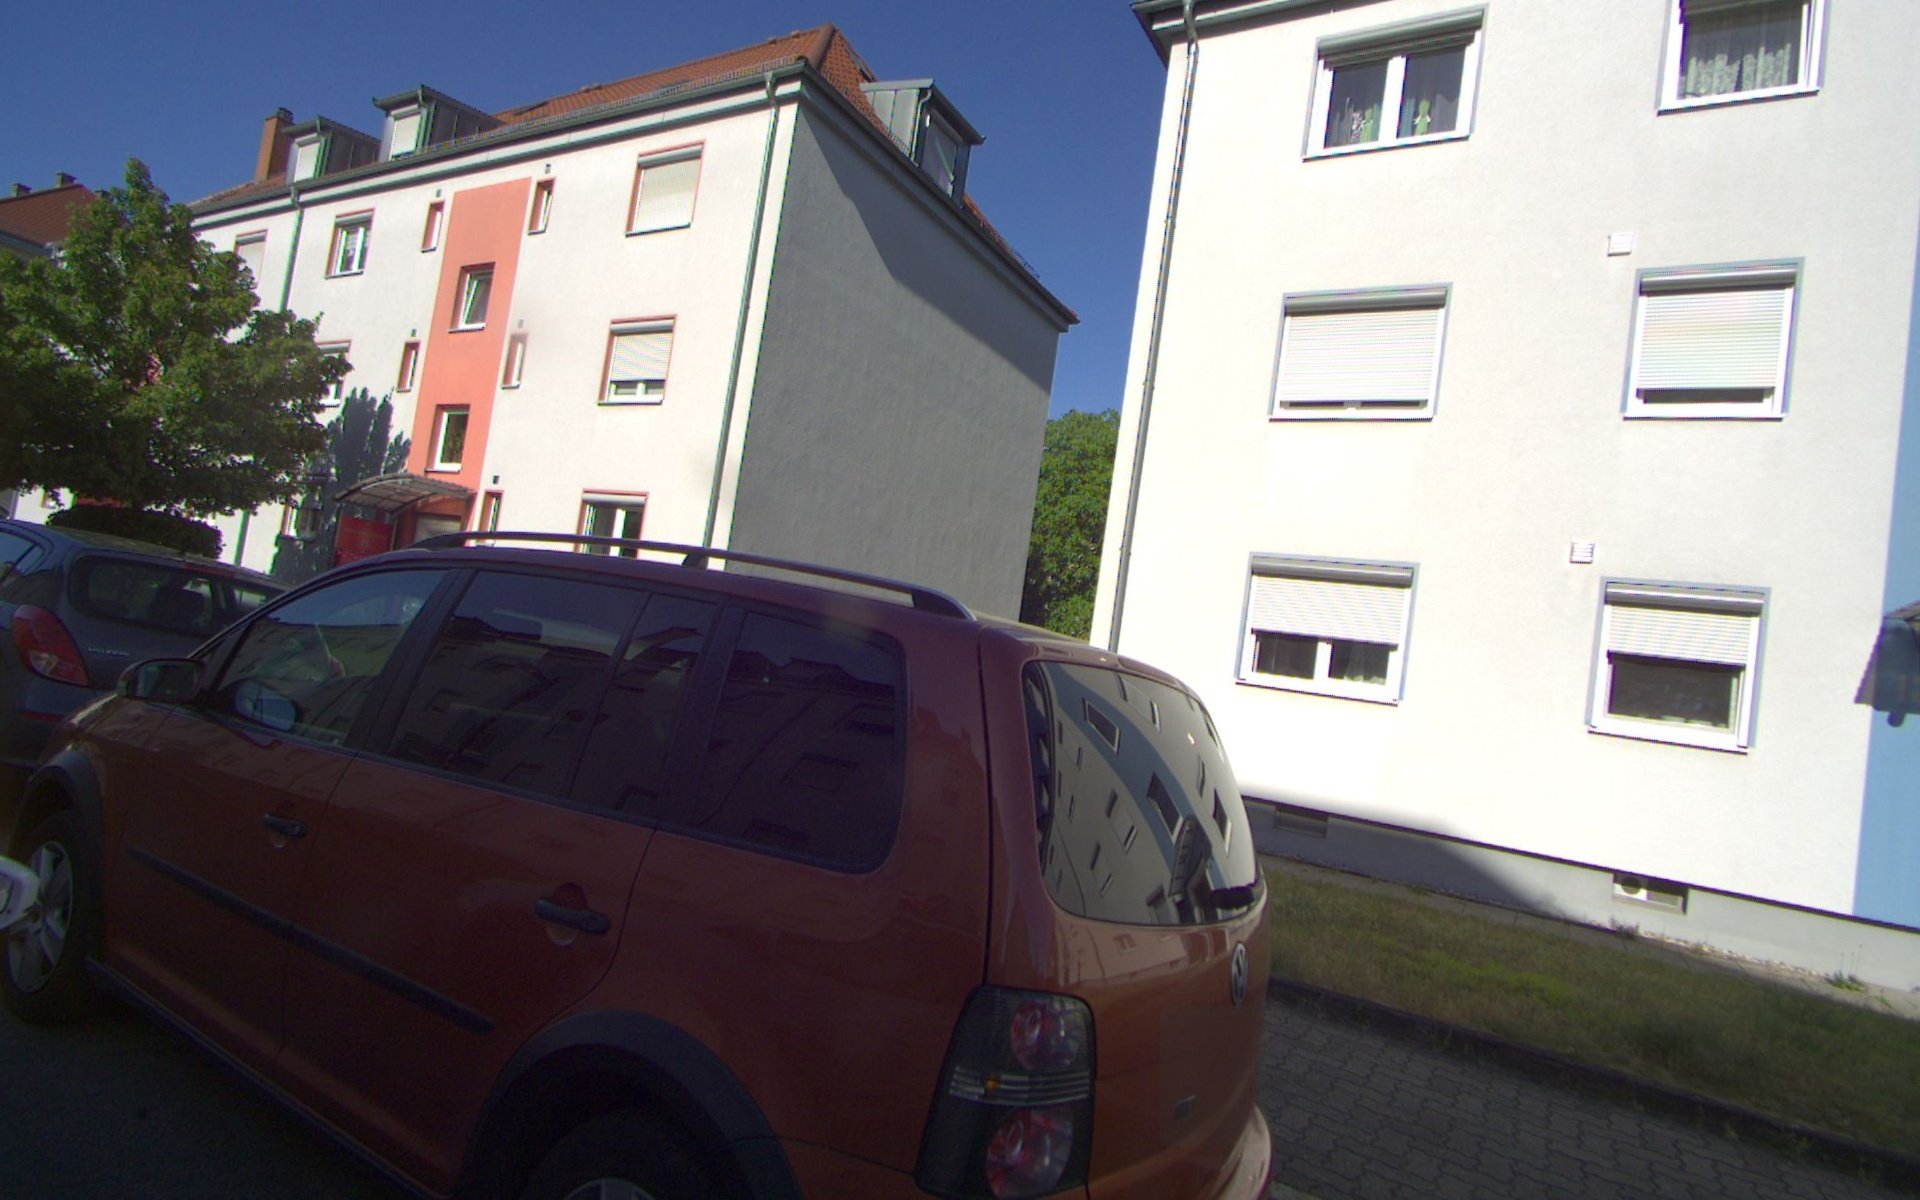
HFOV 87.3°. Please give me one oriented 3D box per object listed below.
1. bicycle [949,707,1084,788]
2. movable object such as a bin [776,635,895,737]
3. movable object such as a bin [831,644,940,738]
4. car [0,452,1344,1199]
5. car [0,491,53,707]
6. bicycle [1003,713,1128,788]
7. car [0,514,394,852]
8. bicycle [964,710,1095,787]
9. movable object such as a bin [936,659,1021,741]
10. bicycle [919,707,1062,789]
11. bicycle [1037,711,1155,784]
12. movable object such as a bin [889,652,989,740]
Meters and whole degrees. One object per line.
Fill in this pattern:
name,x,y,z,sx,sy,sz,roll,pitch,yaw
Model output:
bicycle,0.750,1.986,13.683,1.751,0.776,0.454,7,-2,32
movable object such as a bin,-2.027,1.423,16.482,1.168,1.431,1.364,7,-3,31
movable object such as a bin,-1.296,1.614,17.771,1.168,1.431,1.364,7,-3,31
car,-1.187,0.684,3.162,4.058,1.683,1.870,7,-7,32
car,-9.762,-0.342,8.467,4.305,1.687,1.708,7,-5,30
bicycle,1.511,2.154,14.520,1.682,0.767,0.454,7,-2,32
car,-5.444,0.312,6.057,3.775,1.474,1.625,7,-6,29
bicycle,0.959,2.073,14.182,1.758,0.767,0.454,7,-2,32
movable object such as a bin,0.378,2.016,20.244,1.168,1.431,1.068,7,-3,31
bicycle,0.386,1.943,13.351,1.838,0.748,0.454,7,-2,32
bicycle,2.092,2.266,15.579,1.693,0.833,0.454,7,-2,32
movable object such as a bin,-0.388,1.829,18.999,1.168,1.431,1.364,7,-3,31
